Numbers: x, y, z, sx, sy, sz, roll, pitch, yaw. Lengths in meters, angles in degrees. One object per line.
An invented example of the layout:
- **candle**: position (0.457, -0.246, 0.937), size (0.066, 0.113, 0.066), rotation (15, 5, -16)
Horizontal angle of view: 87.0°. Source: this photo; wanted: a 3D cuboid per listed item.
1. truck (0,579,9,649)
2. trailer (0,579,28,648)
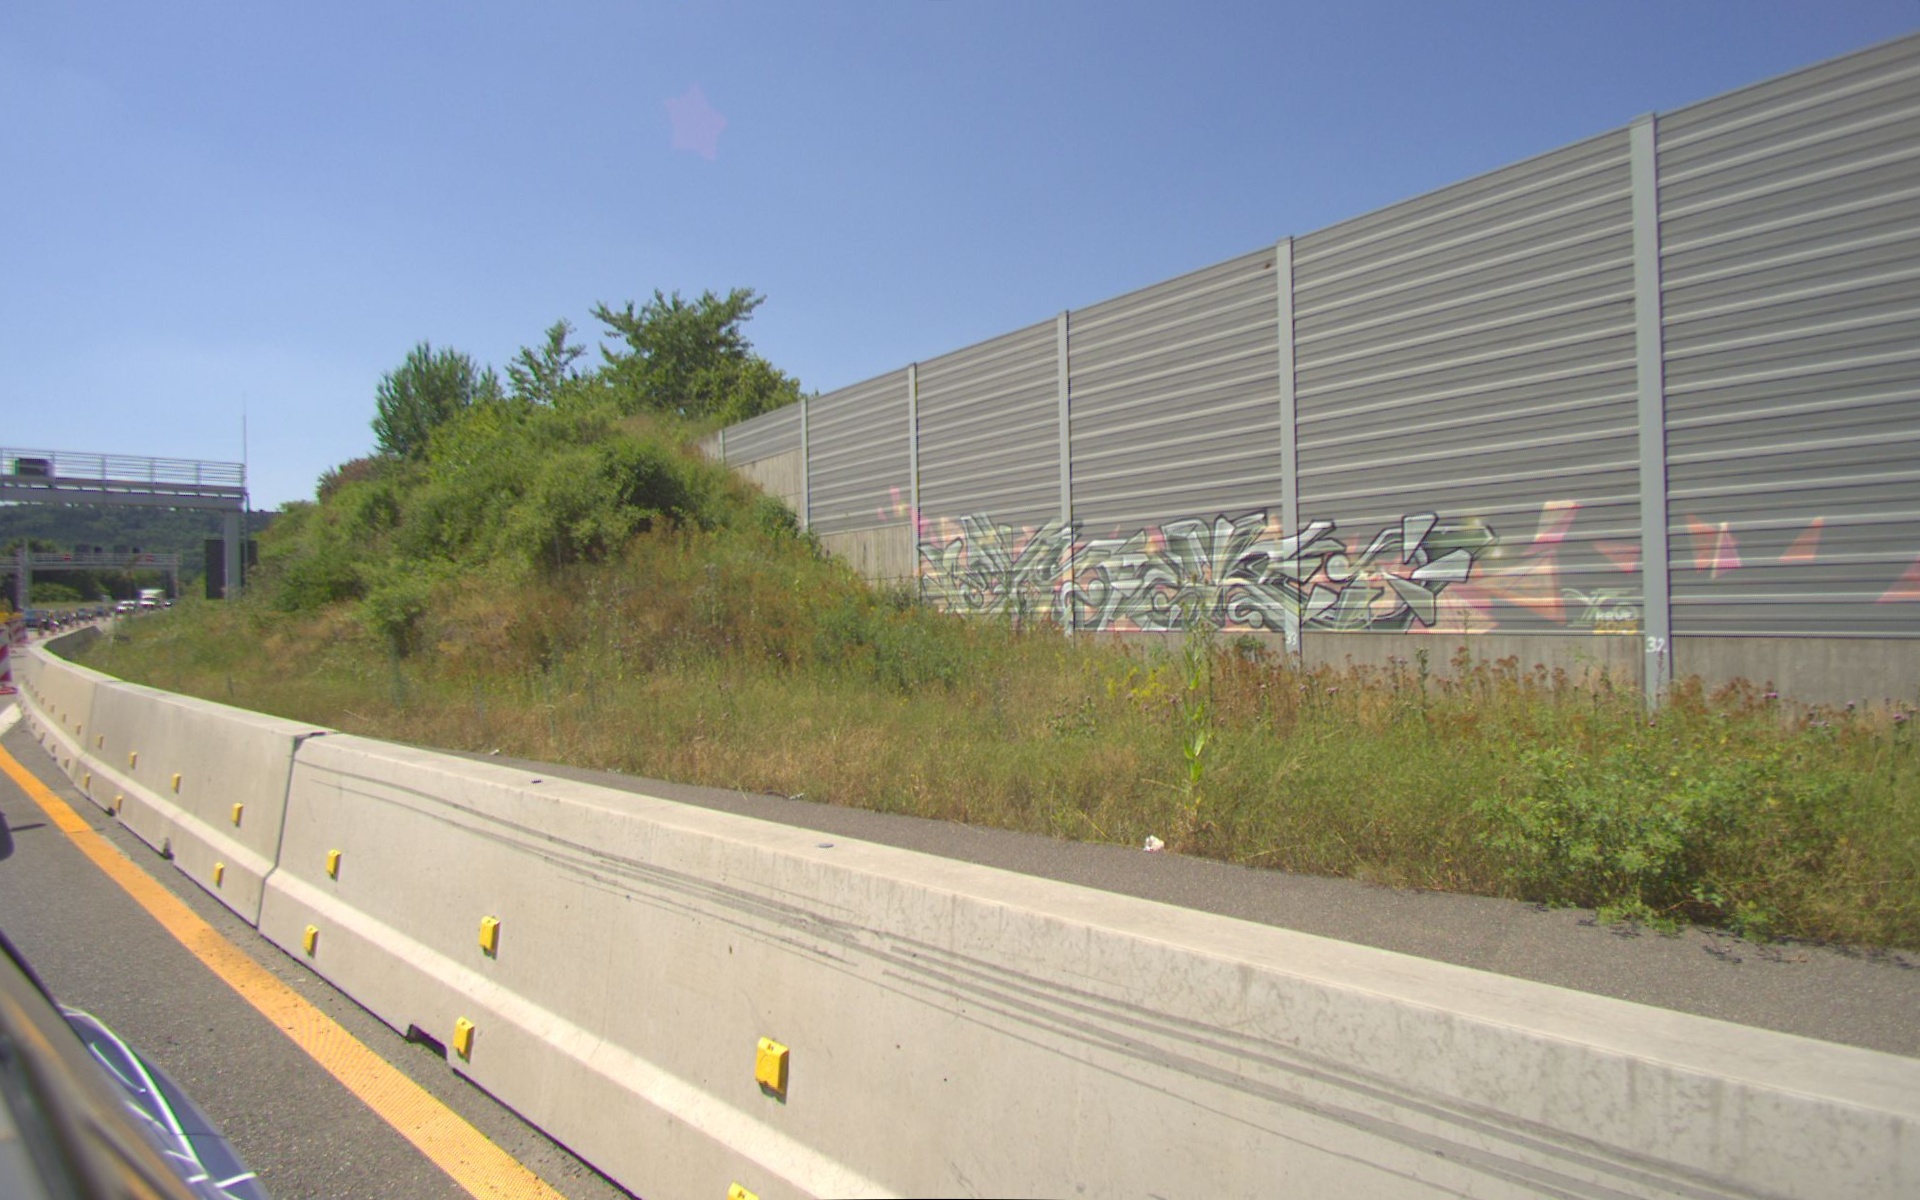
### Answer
- **truck**: position (-52.141, 0.779, 52.746), size (3.181, 3.688, 7.095), rotation (-3, 0, -40)
- **trailer**: position (-57.679, 1.001, 59.464), size (3.188, 3.695, 17.451), rotation (-2, 0, -40)
